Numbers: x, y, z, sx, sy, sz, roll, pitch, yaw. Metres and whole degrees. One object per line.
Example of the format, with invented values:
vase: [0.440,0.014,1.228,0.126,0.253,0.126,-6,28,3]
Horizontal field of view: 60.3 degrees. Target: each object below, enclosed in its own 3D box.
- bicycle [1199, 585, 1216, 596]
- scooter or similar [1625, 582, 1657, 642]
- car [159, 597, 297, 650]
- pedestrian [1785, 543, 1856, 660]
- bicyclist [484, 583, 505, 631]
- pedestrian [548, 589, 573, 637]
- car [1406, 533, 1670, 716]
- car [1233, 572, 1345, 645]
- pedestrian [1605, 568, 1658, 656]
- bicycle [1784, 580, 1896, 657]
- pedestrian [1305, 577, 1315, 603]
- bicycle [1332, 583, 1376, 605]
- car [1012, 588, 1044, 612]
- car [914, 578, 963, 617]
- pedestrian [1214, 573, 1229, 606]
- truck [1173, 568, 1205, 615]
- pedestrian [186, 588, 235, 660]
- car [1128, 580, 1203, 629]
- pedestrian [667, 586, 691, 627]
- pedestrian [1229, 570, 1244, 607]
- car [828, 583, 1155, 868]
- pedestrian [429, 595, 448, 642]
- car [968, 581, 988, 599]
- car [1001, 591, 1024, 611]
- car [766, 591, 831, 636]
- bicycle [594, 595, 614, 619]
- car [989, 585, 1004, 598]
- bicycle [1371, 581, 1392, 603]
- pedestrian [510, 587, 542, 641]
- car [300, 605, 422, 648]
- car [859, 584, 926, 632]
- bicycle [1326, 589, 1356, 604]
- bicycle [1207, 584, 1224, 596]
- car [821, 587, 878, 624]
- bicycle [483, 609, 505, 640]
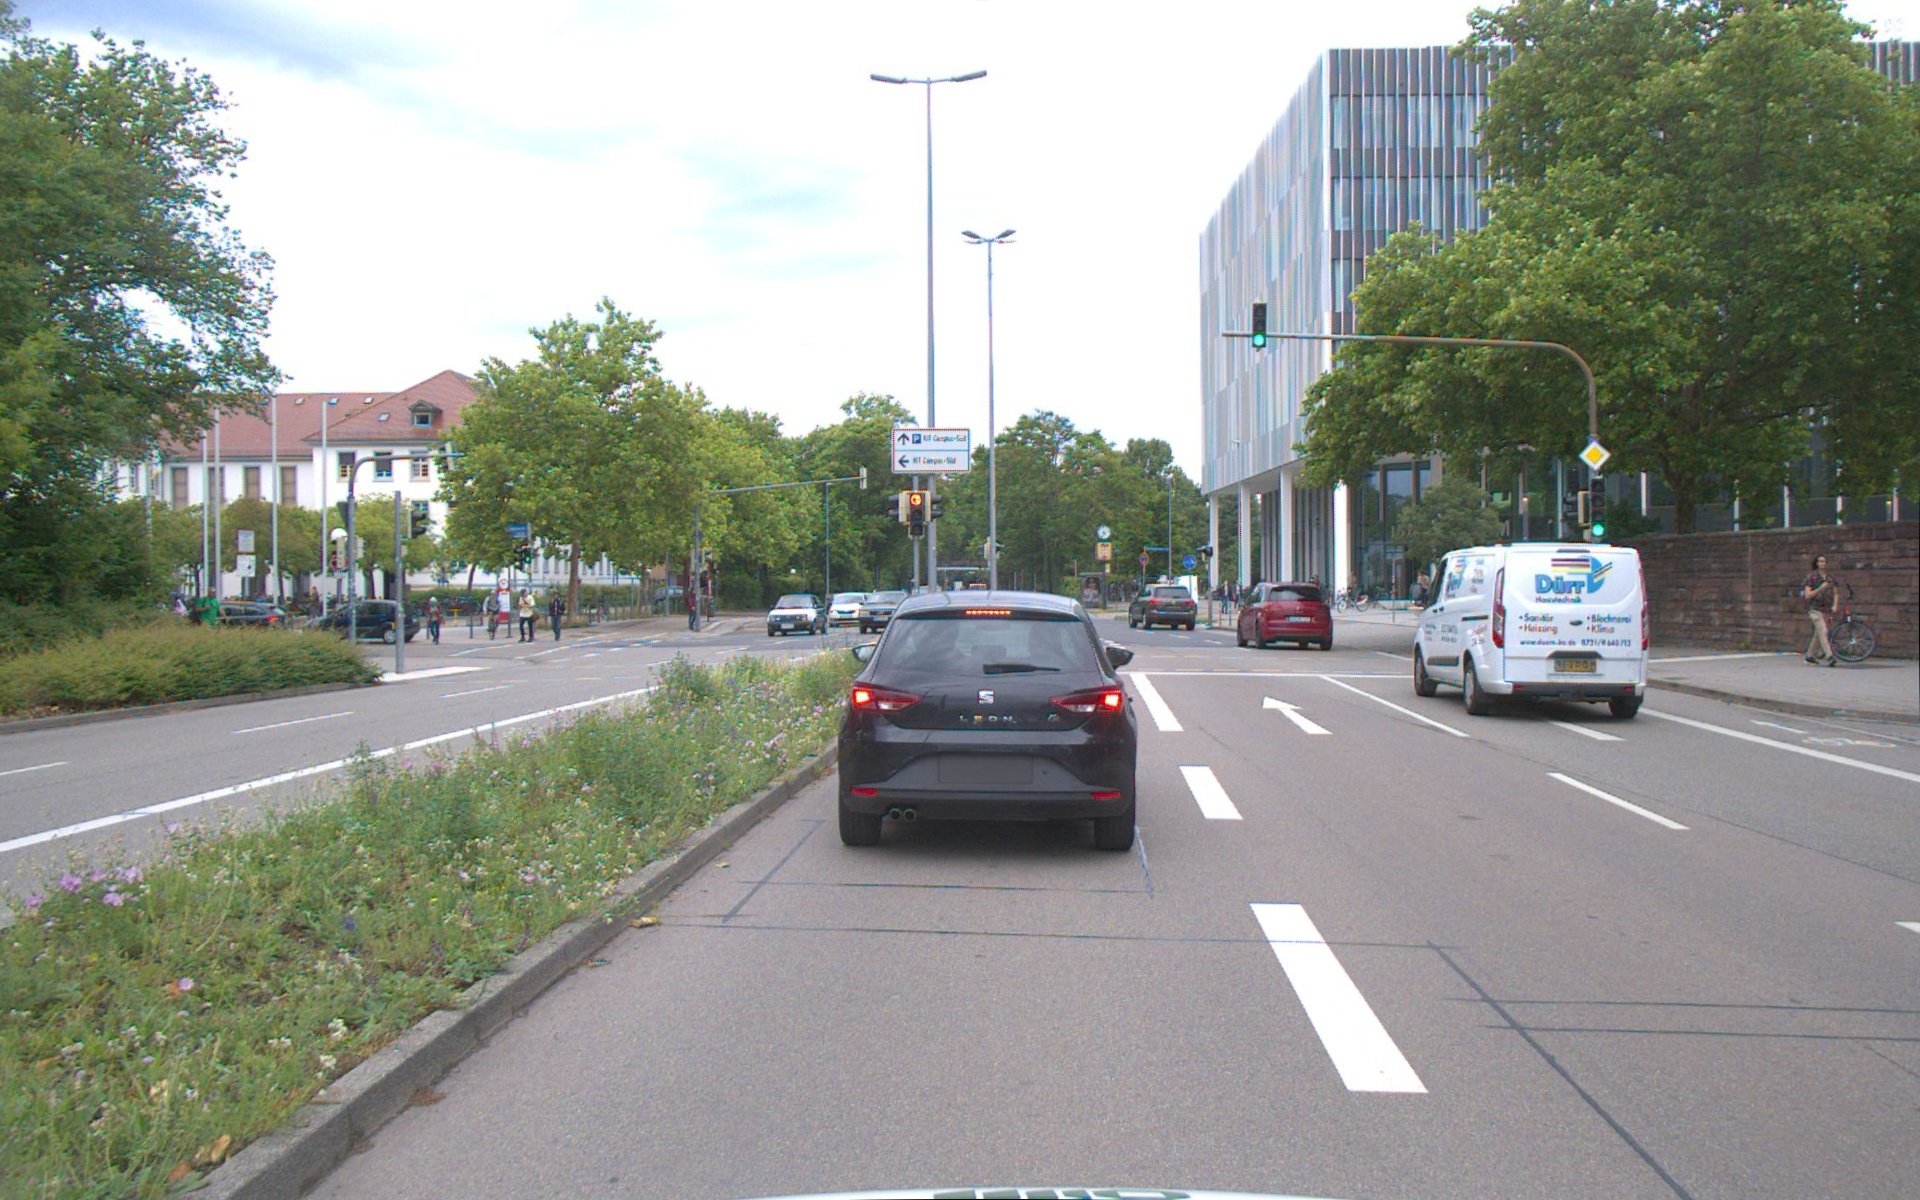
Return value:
bicycle: [19.117,-0.725,127.865,1.239,0.863,0.480,2,-1,-19]
scooter or similar: [14.562,0.236,35.330,0.424,1.199,1.701,-3,1,28]
car: [-24.739,0.774,56.019,3.981,1.477,1.618,-1,6,-14]
pedestrian: [14.019,0.016,26.960,0.618,1.853,1.033,-2,1,4]
bicyclist: [-16.363,0.248,58.130,0.654,1.664,0.958,1,-1,-14]
pedestrian: [-13.537,0.448,56.027,0.776,1.585,0.696,-1,-3,-16]
car: [7.020,0.241,20.592,1.925,2.006,4.346,1,1,3]
car: [7.999,0.163,40.547,1.910,1.652,3.748,1,1,-2]
pedestrian: [12.635,0.224,31.149,0.646,1.588,0.636,-5,0,4]
bicycle: [14.893,0.288,28.055,0.787,1.194,1.954,-4,1,-1]
pedestrian: [18.517,-0.538,87.567,0.462,1.385,0.446,-2,1,14]
bicycle: [17.878,-0.283,75.050,1.856,0.914,0.694,-3,1,-17]
car: [4.377,-0.025,106.820,1.860,1.377,3.883,-2,1,0]
car: [-0.996,-0.103,77.589,1.880,1.693,4.401,-2,0,4]
pedestrian: [13.036,-0.530,82.381,0.672,1.668,0.633,0,1,4]
truck: [11.539,-0.449,83.540,1.290,2.282,3.403,-2,1,4]
pedestrian: [-19.037,0.599,42.006,0.934,1.790,0.863,1,-1,-40]
car: [7.709,0.135,62.404,1.878,1.693,4.109,-2,1,-6]
pedestrian: [-11.324,0.270,66.703,0.857,1.614,0.543,-2,1,-3]
pedestrian: [13.766,-0.575,82.440,0.672,1.812,0.677,0,1,4]
car: [0.361,0.636,10.598,1.716,1.457,3.772,1,1,6]
pedestrian: [-17.708,0.629,56.157,0.562,1.553,0.844,-1,-4,-20]
car: [1.667,-0.927,153.707,1.661,1.530,4.008,-2,1,-2]
car: [3.934,0.038,124.141,1.582,1.377,4.000,-2,1,0]
car: [-5.534,0.447,57.140,1.574,1.405,3.811,-2,1,4]
bicycle: [-17.400,0.335,80.817,0.595,1.079,2.043,-2,1,-2]
car: [3.663,-0.872,165.494,1.474,1.214,3.163,-2,1,0]
bicycle: [21.871,-0.410,85.798,0.608,1.064,1.702,-2,1,30]
pedestrian: [-14.744,0.464,56.180,0.831,1.770,0.822,0,-4,-31]
car: [-20.495,0.892,56.710,3.582,1.244,1.564,0,8,-3]
car: [-2.278,0.269,57.179,1.727,1.486,4.794,-3,0,4]
bicycle: [20.359,-0.201,88.408,1.449,0.761,0.566,-2,1,0]
bicycle: [19.436,-0.747,125.758,1.215,0.837,0.480,1,0,-18]
car: [-4.790,0.230,72.055,1.669,1.456,4.231,-2,1,7]
bicycle: [-16.360,0.856,58.099,0.654,1.081,1.613,1,0,-14]
